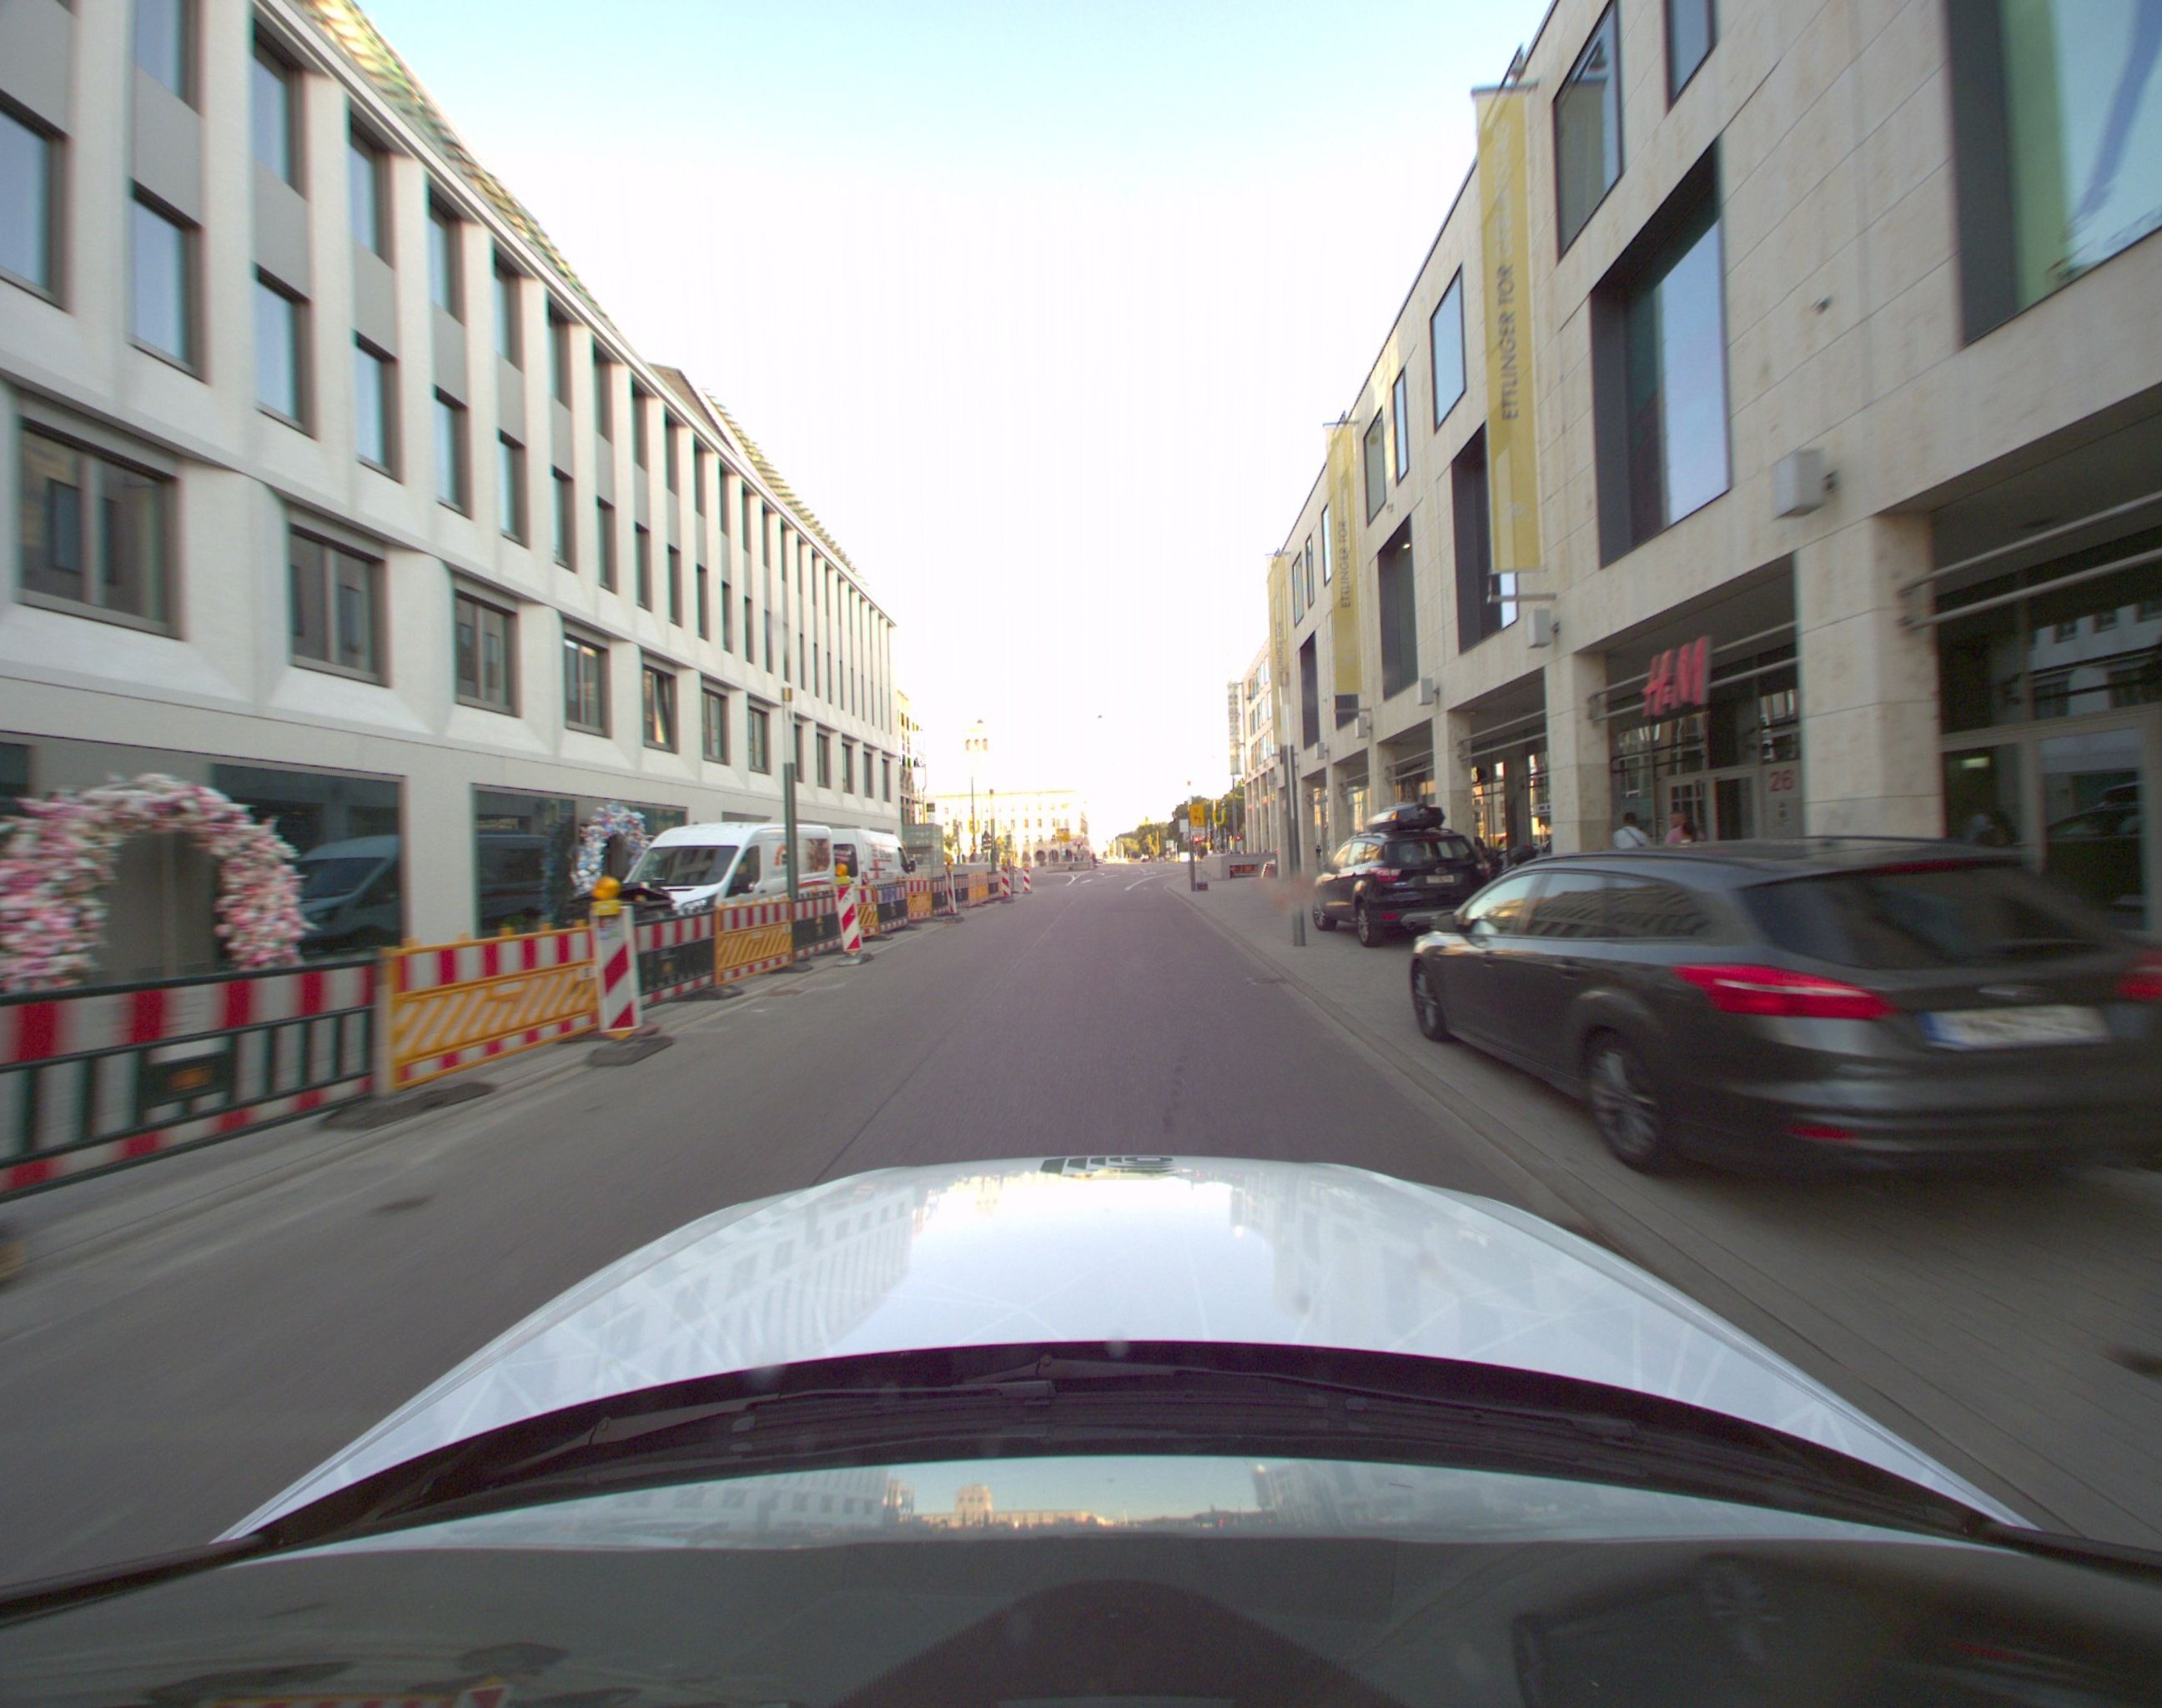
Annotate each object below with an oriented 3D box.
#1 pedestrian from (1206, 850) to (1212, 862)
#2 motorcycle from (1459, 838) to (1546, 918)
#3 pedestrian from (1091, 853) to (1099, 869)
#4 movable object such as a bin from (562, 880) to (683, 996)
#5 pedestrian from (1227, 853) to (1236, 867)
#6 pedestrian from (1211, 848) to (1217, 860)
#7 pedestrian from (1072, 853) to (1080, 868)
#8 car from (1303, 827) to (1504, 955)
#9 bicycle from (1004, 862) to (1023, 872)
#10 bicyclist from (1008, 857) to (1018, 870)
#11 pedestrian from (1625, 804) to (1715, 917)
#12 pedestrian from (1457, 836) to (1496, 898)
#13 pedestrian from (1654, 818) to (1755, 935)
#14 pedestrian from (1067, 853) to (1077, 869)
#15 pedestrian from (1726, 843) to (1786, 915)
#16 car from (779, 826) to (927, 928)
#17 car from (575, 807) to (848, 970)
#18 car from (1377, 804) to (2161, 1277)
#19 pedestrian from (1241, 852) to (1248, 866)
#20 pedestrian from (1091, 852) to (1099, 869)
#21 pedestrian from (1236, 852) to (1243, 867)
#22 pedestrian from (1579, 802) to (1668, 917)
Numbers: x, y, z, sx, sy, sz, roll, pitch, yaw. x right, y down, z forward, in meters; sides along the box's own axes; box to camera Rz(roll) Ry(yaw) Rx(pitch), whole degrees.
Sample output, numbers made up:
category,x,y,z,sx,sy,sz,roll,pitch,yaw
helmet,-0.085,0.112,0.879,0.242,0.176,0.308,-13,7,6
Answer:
category,x,y,z,sx,sy,sz,roll,pitch,yaw
pedestrian,20.135,0.318,128.472,0.805,1.730,0.688,-2,0,1
motorcycle,8.065,0.442,15.708,0.689,1.416,2.139,-2,0,5
pedestrian,1.559,0.751,92.455,0.738,1.777,0.860,-1,0,-10
movable object such as a bin,-6.445,1.133,11.551,1.043,1.466,1.389,-1,-1,-9
pedestrian,19.127,0.763,103.361,0.857,1.777,0.741,-4,-1,4
pedestrian,20.988,0.009,128.646,0.807,1.730,0.686,-2,0,-7
pedestrian,-0.585,0.752,94.740,0.736,1.777,0.863,-4,-1,0
car,5.026,0.526,13.356,1.761,1.637,4.061,-5,-1,3
bicycle,-8.426,1.612,101.688,2.233,1.062,0.654,-2,0,2
bicyclist,-8.471,1.153,101.674,1.015,1.621,0.654,-2,0,2
pedestrian,9.196,0.094,12.749,0.762,1.681,0.877,-2,1,2
pedestrian,10.350,0.325,21.322,0.631,1.567,0.775,-2,1,2
pedestrian,8.822,0.295,11.556,0.762,1.567,0.877,-2,1,2
pedestrian,-1.031,0.764,93.676,0.733,1.777,0.867,-5,-1,14
pedestrian,9.603,0.346,11.597,0.418,0.986,0.526,-2,1,2
car,-6.213,0.585,23.131,2.164,2.470,6.003,-2,0,3
car,-6.629,0.552,15.683,2.164,2.470,6.004,-2,0,3
car,3.378,0.645,4.867,1.788,1.490,4.196,-5,-1,3
pedestrian,20.976,0.674,104.375,0.832,1.730,0.689,-2,0,5
pedestrian,1.536,0.727,91.705,0.736,1.777,0.862,-4,-1,-3
pedestrian,19.997,0.675,102.709,0.753,1.777,0.741,-4,-1,4
pedestrian,8.323,0.075,12.526,0.762,1.681,0.877,-2,1,2
